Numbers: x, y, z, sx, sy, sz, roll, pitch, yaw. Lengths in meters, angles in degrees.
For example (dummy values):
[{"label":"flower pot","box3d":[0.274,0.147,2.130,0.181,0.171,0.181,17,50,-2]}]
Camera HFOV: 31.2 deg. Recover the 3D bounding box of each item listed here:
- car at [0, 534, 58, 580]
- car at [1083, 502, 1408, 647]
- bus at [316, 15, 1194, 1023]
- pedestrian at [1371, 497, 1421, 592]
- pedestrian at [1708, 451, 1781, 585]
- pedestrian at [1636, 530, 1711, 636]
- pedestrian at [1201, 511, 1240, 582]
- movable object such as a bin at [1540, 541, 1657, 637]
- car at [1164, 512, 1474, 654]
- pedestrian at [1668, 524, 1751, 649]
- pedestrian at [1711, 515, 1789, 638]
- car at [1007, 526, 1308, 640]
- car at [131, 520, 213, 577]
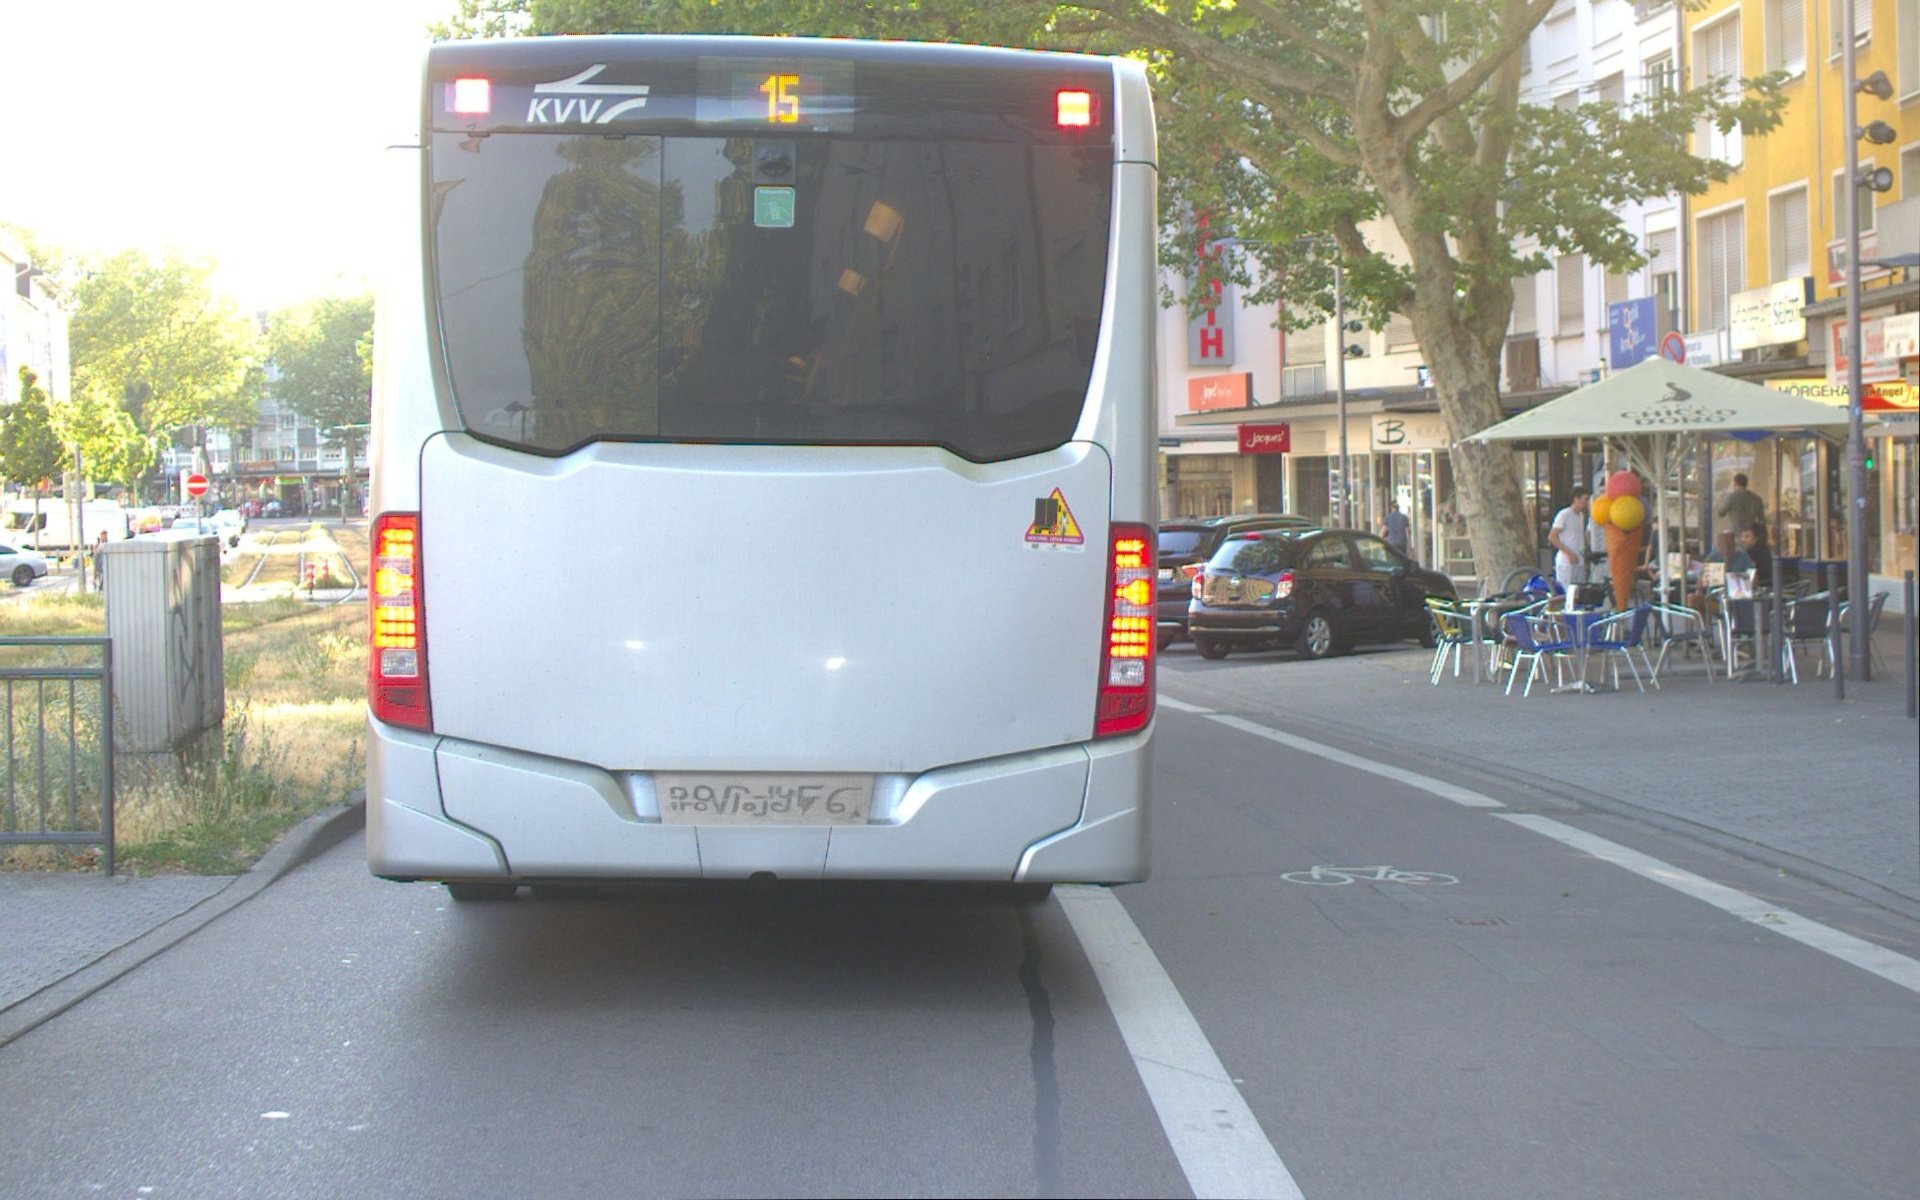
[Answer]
[{"label":"car","box3d":[-30.663,-1.304,107.006,4.539,1.407,1.999,-3,2,-41]},{"label":"car","box3d":[3.628,-0.350,43.168,1.808,1.675,4.141,0,2,44]},{"label":"bus","box3d":[-0.791,-0.352,14.096,2.677,3.072,7.115,0,2,-3]},{"label":"pedestrian","box3d":[8.328,-1.064,65.715,0.780,1.787,0.764,-1,1,-5]},{"label":"pedestrian","box3d":[10.810,-1.126,47.372,0.707,1.785,0.788,-4,1,1]},{"label":"pedestrian","box3d":[7.605,-0.185,36.669,0.583,1.111,0.751,0,1,-5]},{"label":"pedestrian","box3d":[6.381,-1.318,84.173,0.747,1.673,0.835,-1,3,-11]},{"label":"movable object such as a bin","box3d":[6.973,-0.128,37.570,0.926,1.020,0.840,0,1,-27]},{"label":"car","box3d":[4.253,-0.227,40.404,1.740,1.535,3.599,0,2,44]},{"label":"pedestrian","box3d":[7.472,-0.138,34.298,0.605,1.221,0.745,-1,1,-5]},{"label":"pedestrian","box3d":[8.263,-0.249,35.979,0.583,1.270,0.759,0,1,-5]},{"label":"car","box3d":[2.797,-0.254,48.107,4.166,1.446,1.809,-3,2,-43]},{"label":"car","box3d":[-23.021,-1.519,100.519,1.722,1.504,3.477,-4,2,-4]}]
